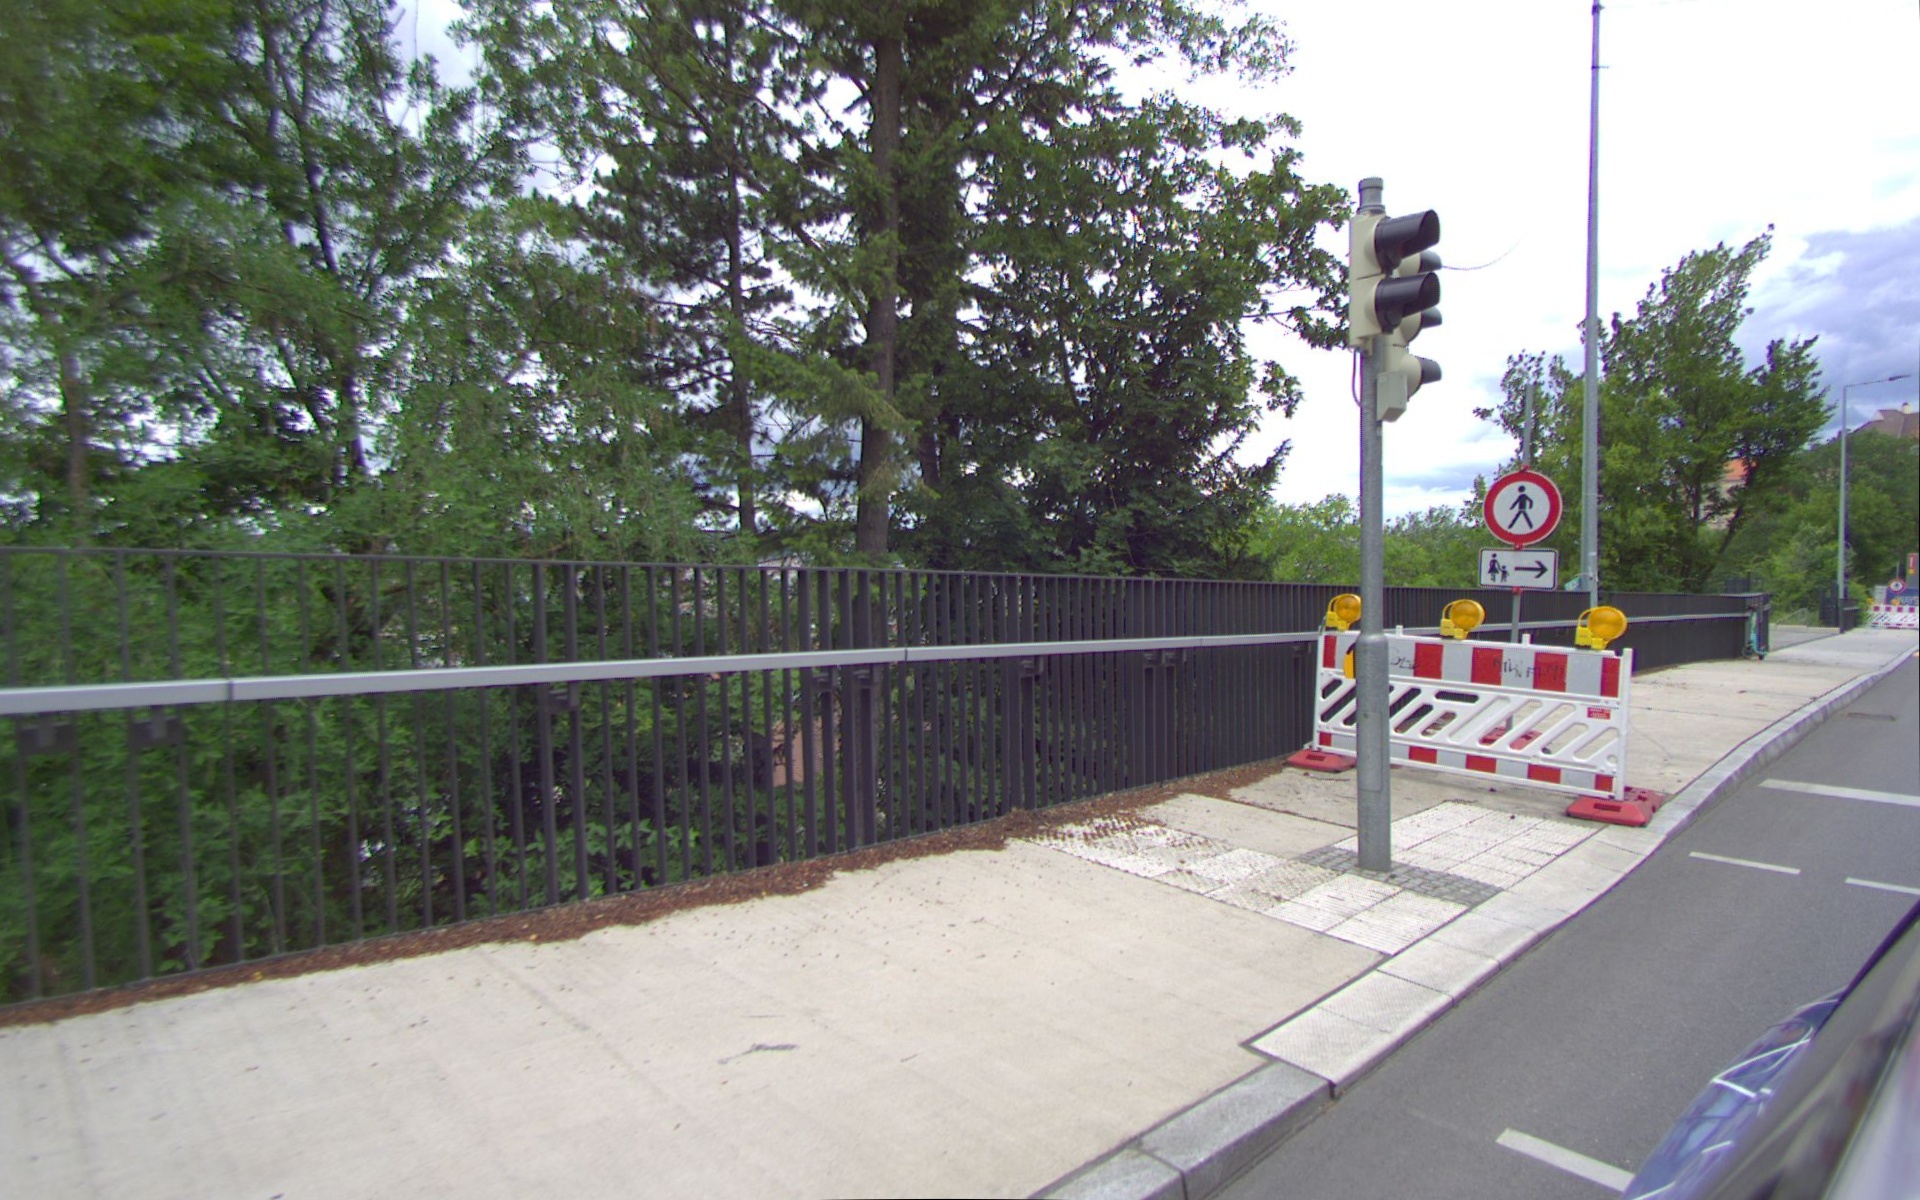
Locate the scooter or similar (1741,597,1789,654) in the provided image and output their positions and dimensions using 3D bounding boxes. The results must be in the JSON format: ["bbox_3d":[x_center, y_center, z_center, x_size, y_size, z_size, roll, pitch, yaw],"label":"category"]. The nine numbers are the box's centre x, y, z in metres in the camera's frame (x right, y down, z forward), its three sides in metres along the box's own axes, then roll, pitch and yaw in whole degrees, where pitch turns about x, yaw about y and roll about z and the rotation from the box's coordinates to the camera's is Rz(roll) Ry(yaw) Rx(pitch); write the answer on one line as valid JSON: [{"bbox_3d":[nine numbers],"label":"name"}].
[{"bbox_3d":[18.276,0.580,22.971,1.184,1.241,0.536,2,1,-38],"label":"scooter or similar"}]
